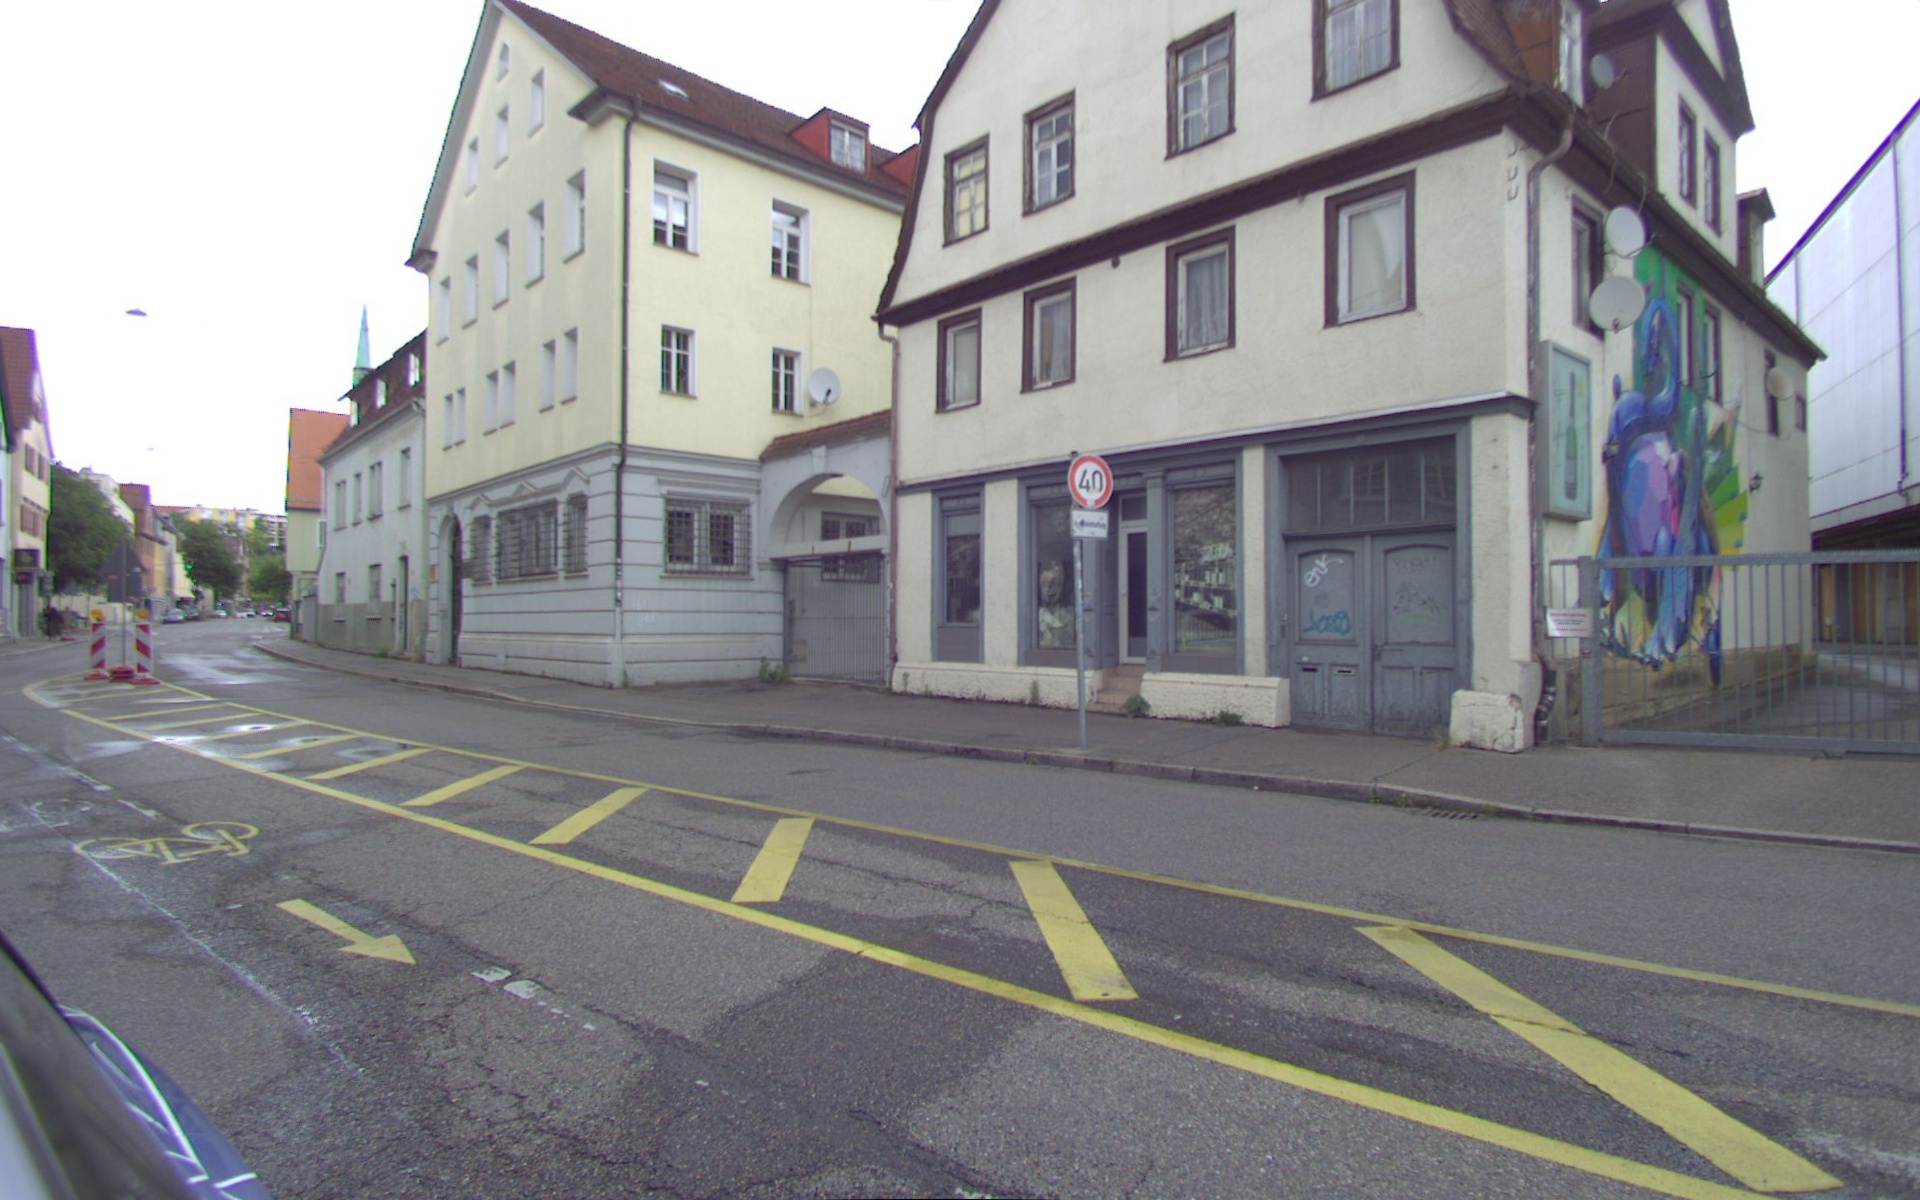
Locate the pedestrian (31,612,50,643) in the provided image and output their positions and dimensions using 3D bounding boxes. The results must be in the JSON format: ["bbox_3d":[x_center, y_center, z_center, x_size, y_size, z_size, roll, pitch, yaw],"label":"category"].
[{"bbox_3d":[-54.911,1.630,60.415,0.653,1.808,0.559,-1,-2,12],"label":"pedestrian"}]

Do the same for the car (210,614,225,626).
[{"bbox_3d":[-123.521,3.342,168.287,1.967,2.029,4.009,1,-2,-37],"label":"car"}]

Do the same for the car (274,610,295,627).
[{"bbox_3d":[-85.669,2.345,128.353,2.027,2.029,4.009,1,-2,-37],"label":"car"}]

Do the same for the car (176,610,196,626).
[{"bbox_3d":[-96.968,2.263,126.811,1.967,2.029,4.009,1,-2,-37],"label":"car"}]

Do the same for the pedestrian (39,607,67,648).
[{"bbox_3d":[-43.138,1.322,48.130,0.864,1.914,0.899,1,-2,-36],"label":"pedestrian"}]

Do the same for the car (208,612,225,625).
[{"bbox_3d":[-114.775,2.878,156.216,1.967,2.029,4.009,1,-2,-37],"label":"car"}]

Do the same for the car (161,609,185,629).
[{"bbox_3d":[-84.797,2.072,109.038,1.967,2.029,4.009,1,-2,-37],"label":"car"}]
